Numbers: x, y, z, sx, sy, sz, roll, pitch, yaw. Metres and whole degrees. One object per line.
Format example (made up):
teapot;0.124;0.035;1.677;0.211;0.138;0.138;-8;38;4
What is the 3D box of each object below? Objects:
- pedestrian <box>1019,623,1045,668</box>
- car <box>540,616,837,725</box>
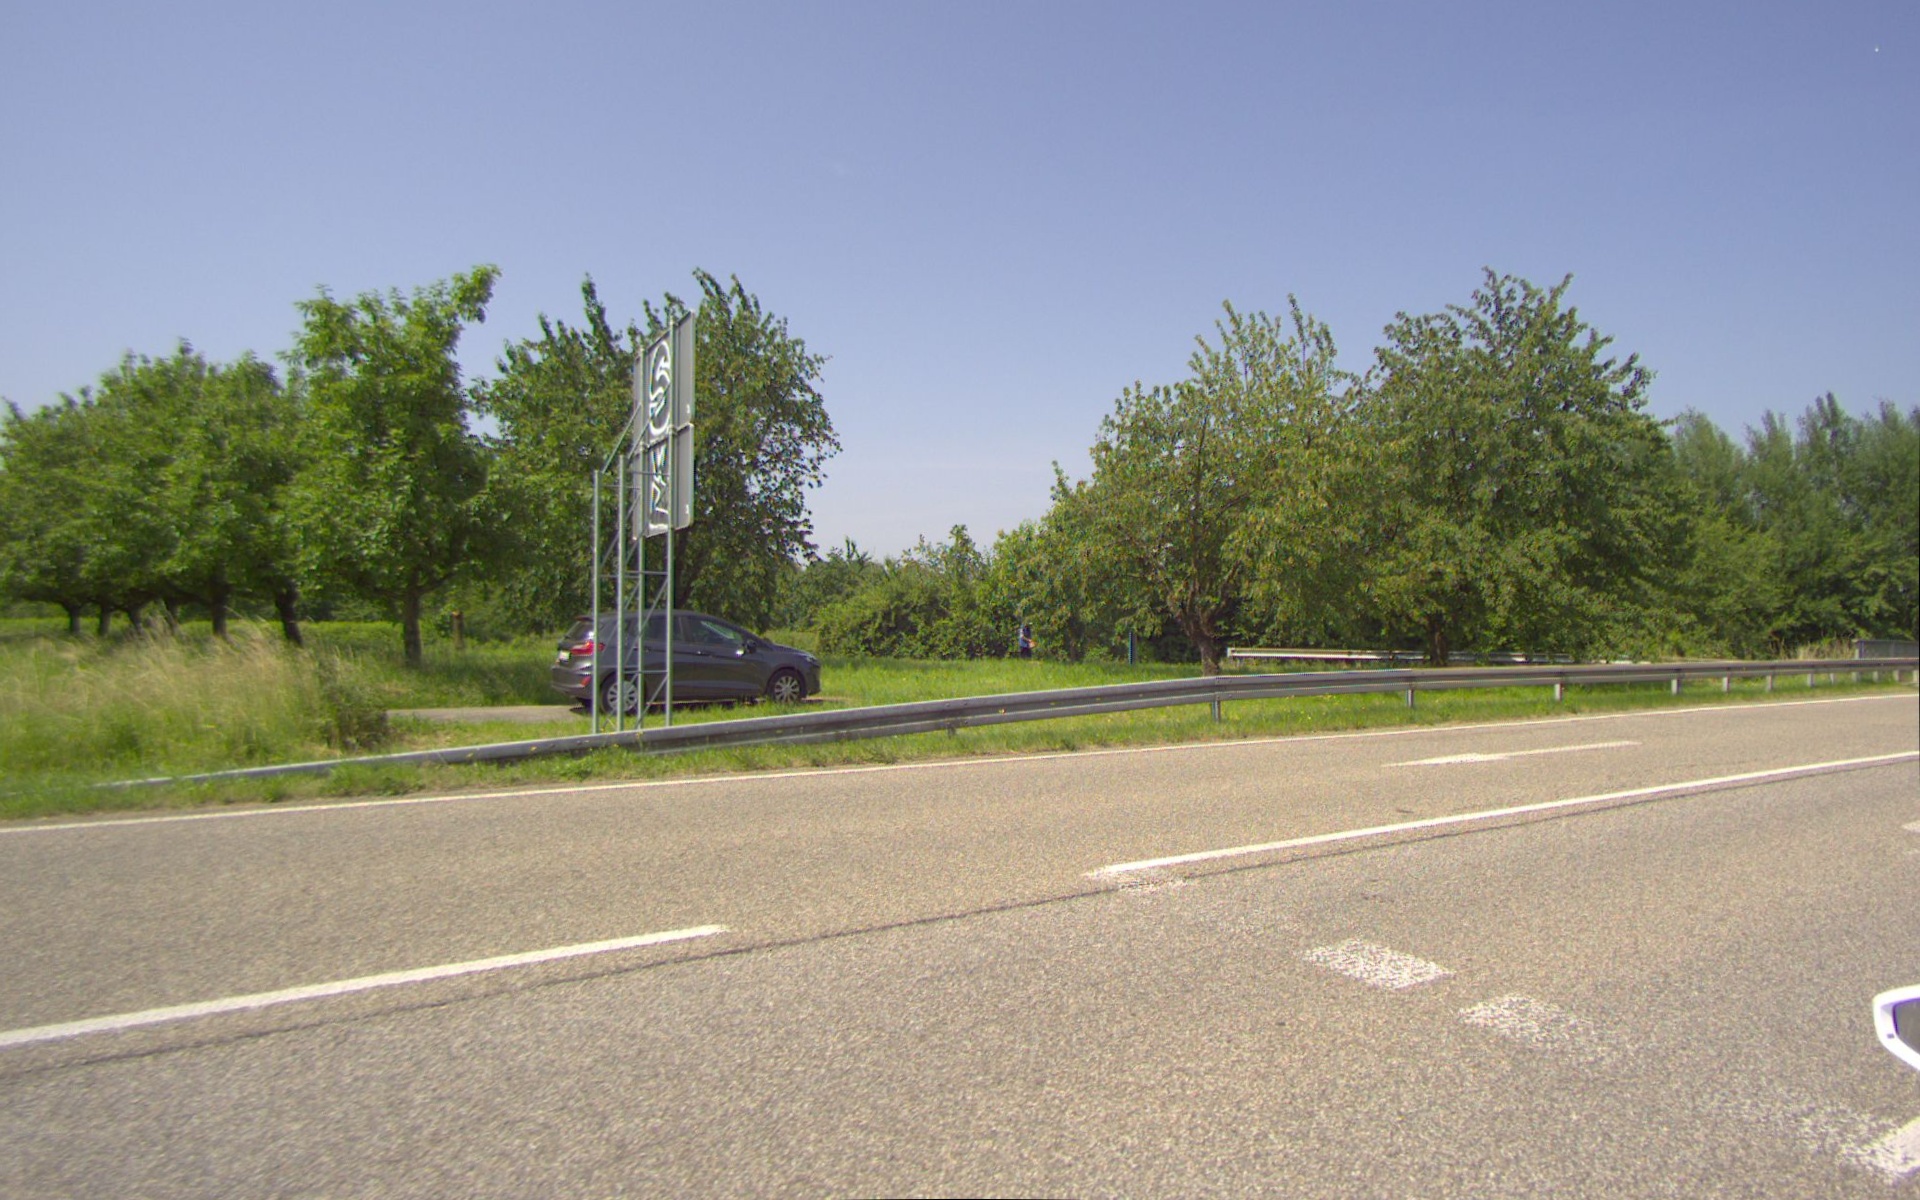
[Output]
pedestrian;2.129;1.334;29.732;0.549;1.314;0.571;1;0;-29
car;-4.034;0.990;15.180;4.004;1.442;1.693;1;-1;-36
